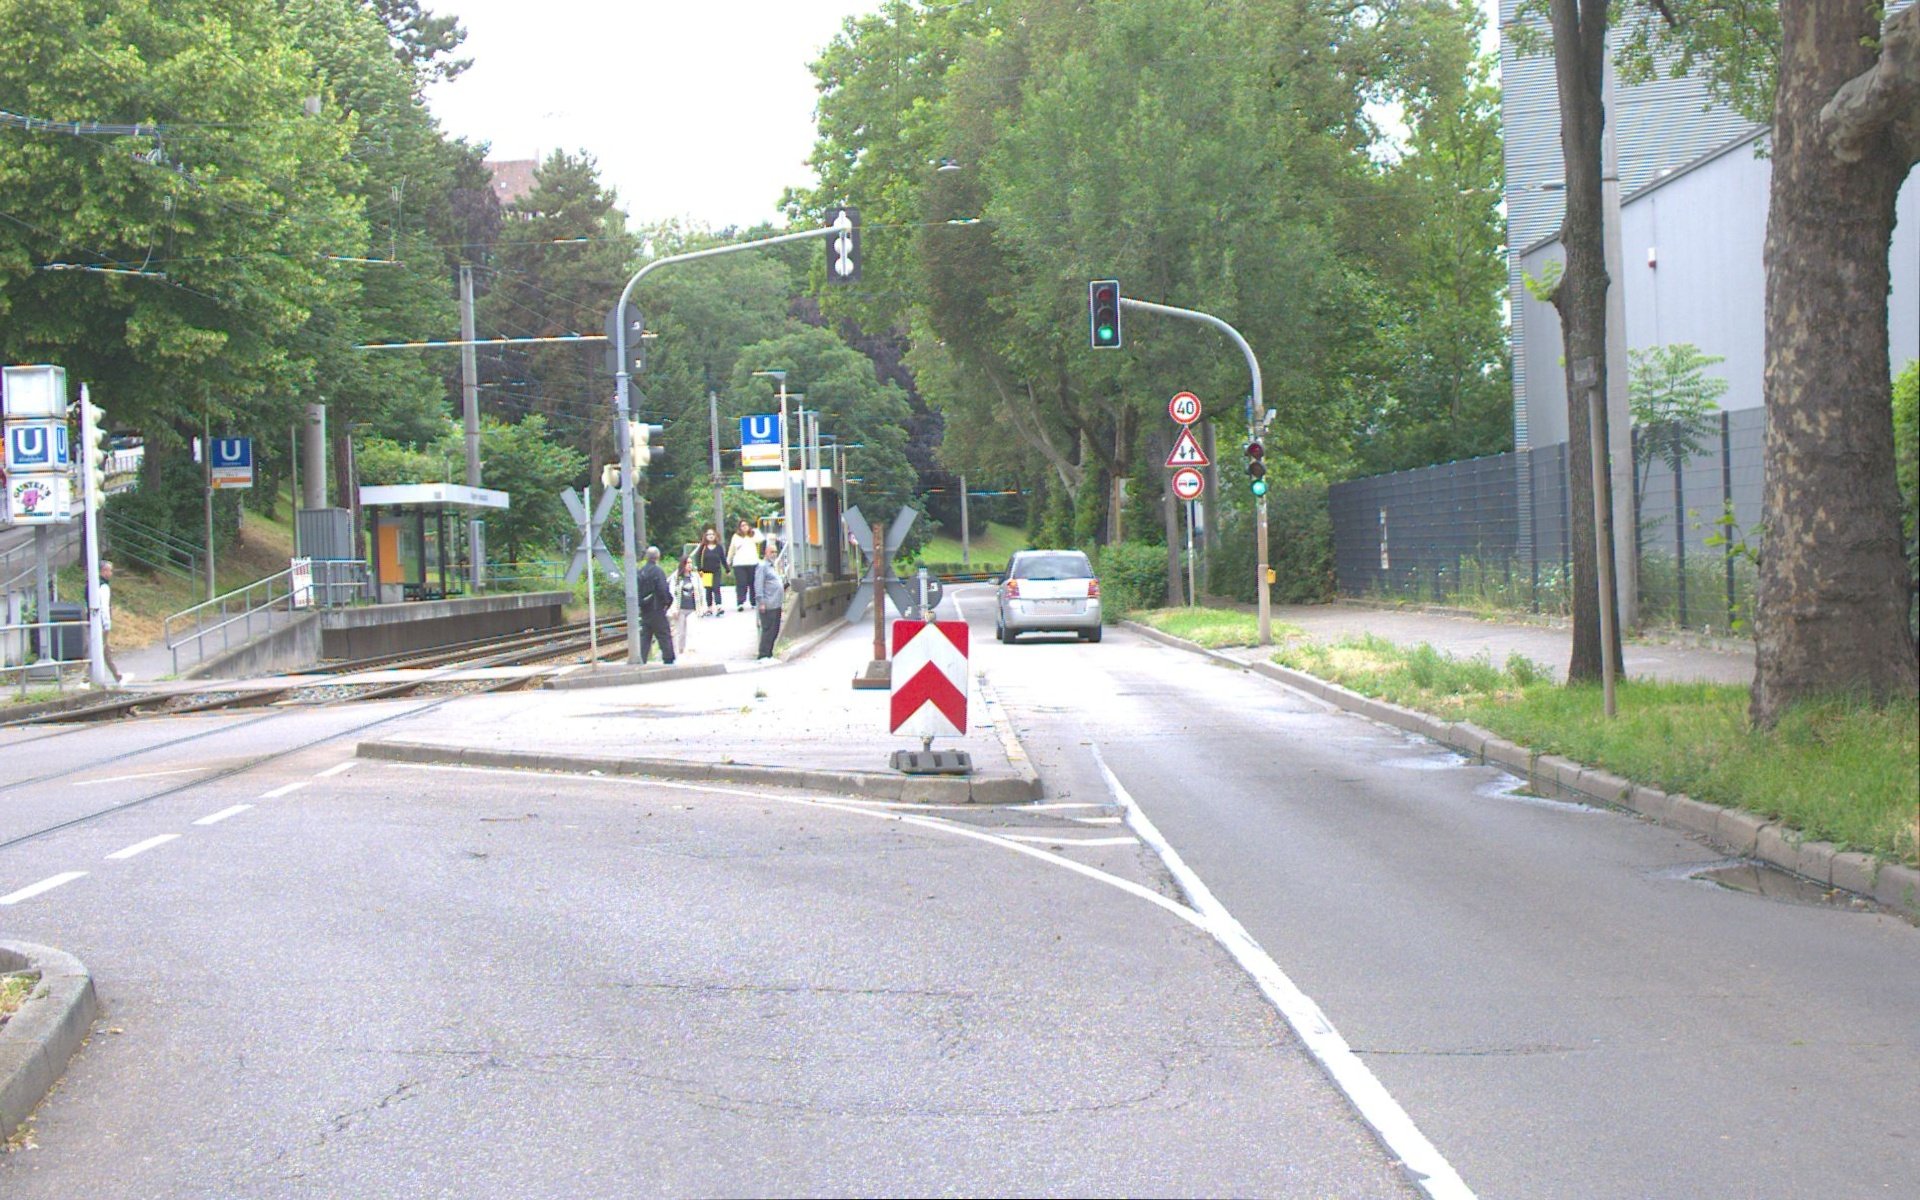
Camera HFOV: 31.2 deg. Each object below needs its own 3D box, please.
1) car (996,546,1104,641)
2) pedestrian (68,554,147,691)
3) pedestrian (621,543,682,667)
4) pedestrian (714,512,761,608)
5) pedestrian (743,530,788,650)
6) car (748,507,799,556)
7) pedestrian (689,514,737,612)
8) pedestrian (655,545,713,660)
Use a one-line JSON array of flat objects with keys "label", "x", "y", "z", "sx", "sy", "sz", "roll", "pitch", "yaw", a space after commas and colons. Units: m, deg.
[{"label": "car", "x": 1.561, "y": -0.134, "z": 60.864, "sx": 1.743, "sy": 1.593, "sz": 4.000, "roll": 1, "pitch": 1, "yaw": -1}, {"label": "pedestrian", "x": -11.484, "y": 0.300, "z": 46.299, "sx": 0.803, "sy": 1.815, "sz": 0.670, "roll": 0, "pitch": 1, "yaw": -41}, {"label": "pedestrian", "x": -4.181, "y": 0.063, "z": 46.679, "sx": 0.735, "sy": 1.659, "sz": 0.682, "roll": 1, "pitch": 0, "yaw": 1}, {"label": "pedestrian", "x": -3.892, "y": -0.693, "z": 60.123, "sx": 0.735, "sy": 1.659, "sz": 0.682, "roll": 1, "pitch": 0, "yaw": -11}, {"label": "pedestrian", "x": -2.868, "y": -0.157, "z": 50.794, "sx": 0.550, "sy": 1.752, "sz": 0.737, "roll": 1, "pitch": 0, "yaw": 4}, {"label": "car", "x": -7.883, "y": -2.882, "z": 145.660, "sx": 1.993, "sy": 2.007, "sz": 4.000, "roll": 1, "pitch": 1, "yaw": -1}, {"label": "pedestrian", "x": -4.248, "y": -0.634, "z": 59.089, "sx": 0.735, "sy": 1.659, "sz": 0.682, "roll": 1, "pitch": 0, "yaw": -11}, {"label": "pedestrian", "x": -4.021, "y": 0.031, "z": 50.110, "sx": 0.735, "sy": 1.659, "sz": 0.681, "roll": 1, "pitch": 0, "yaw": 3}]
